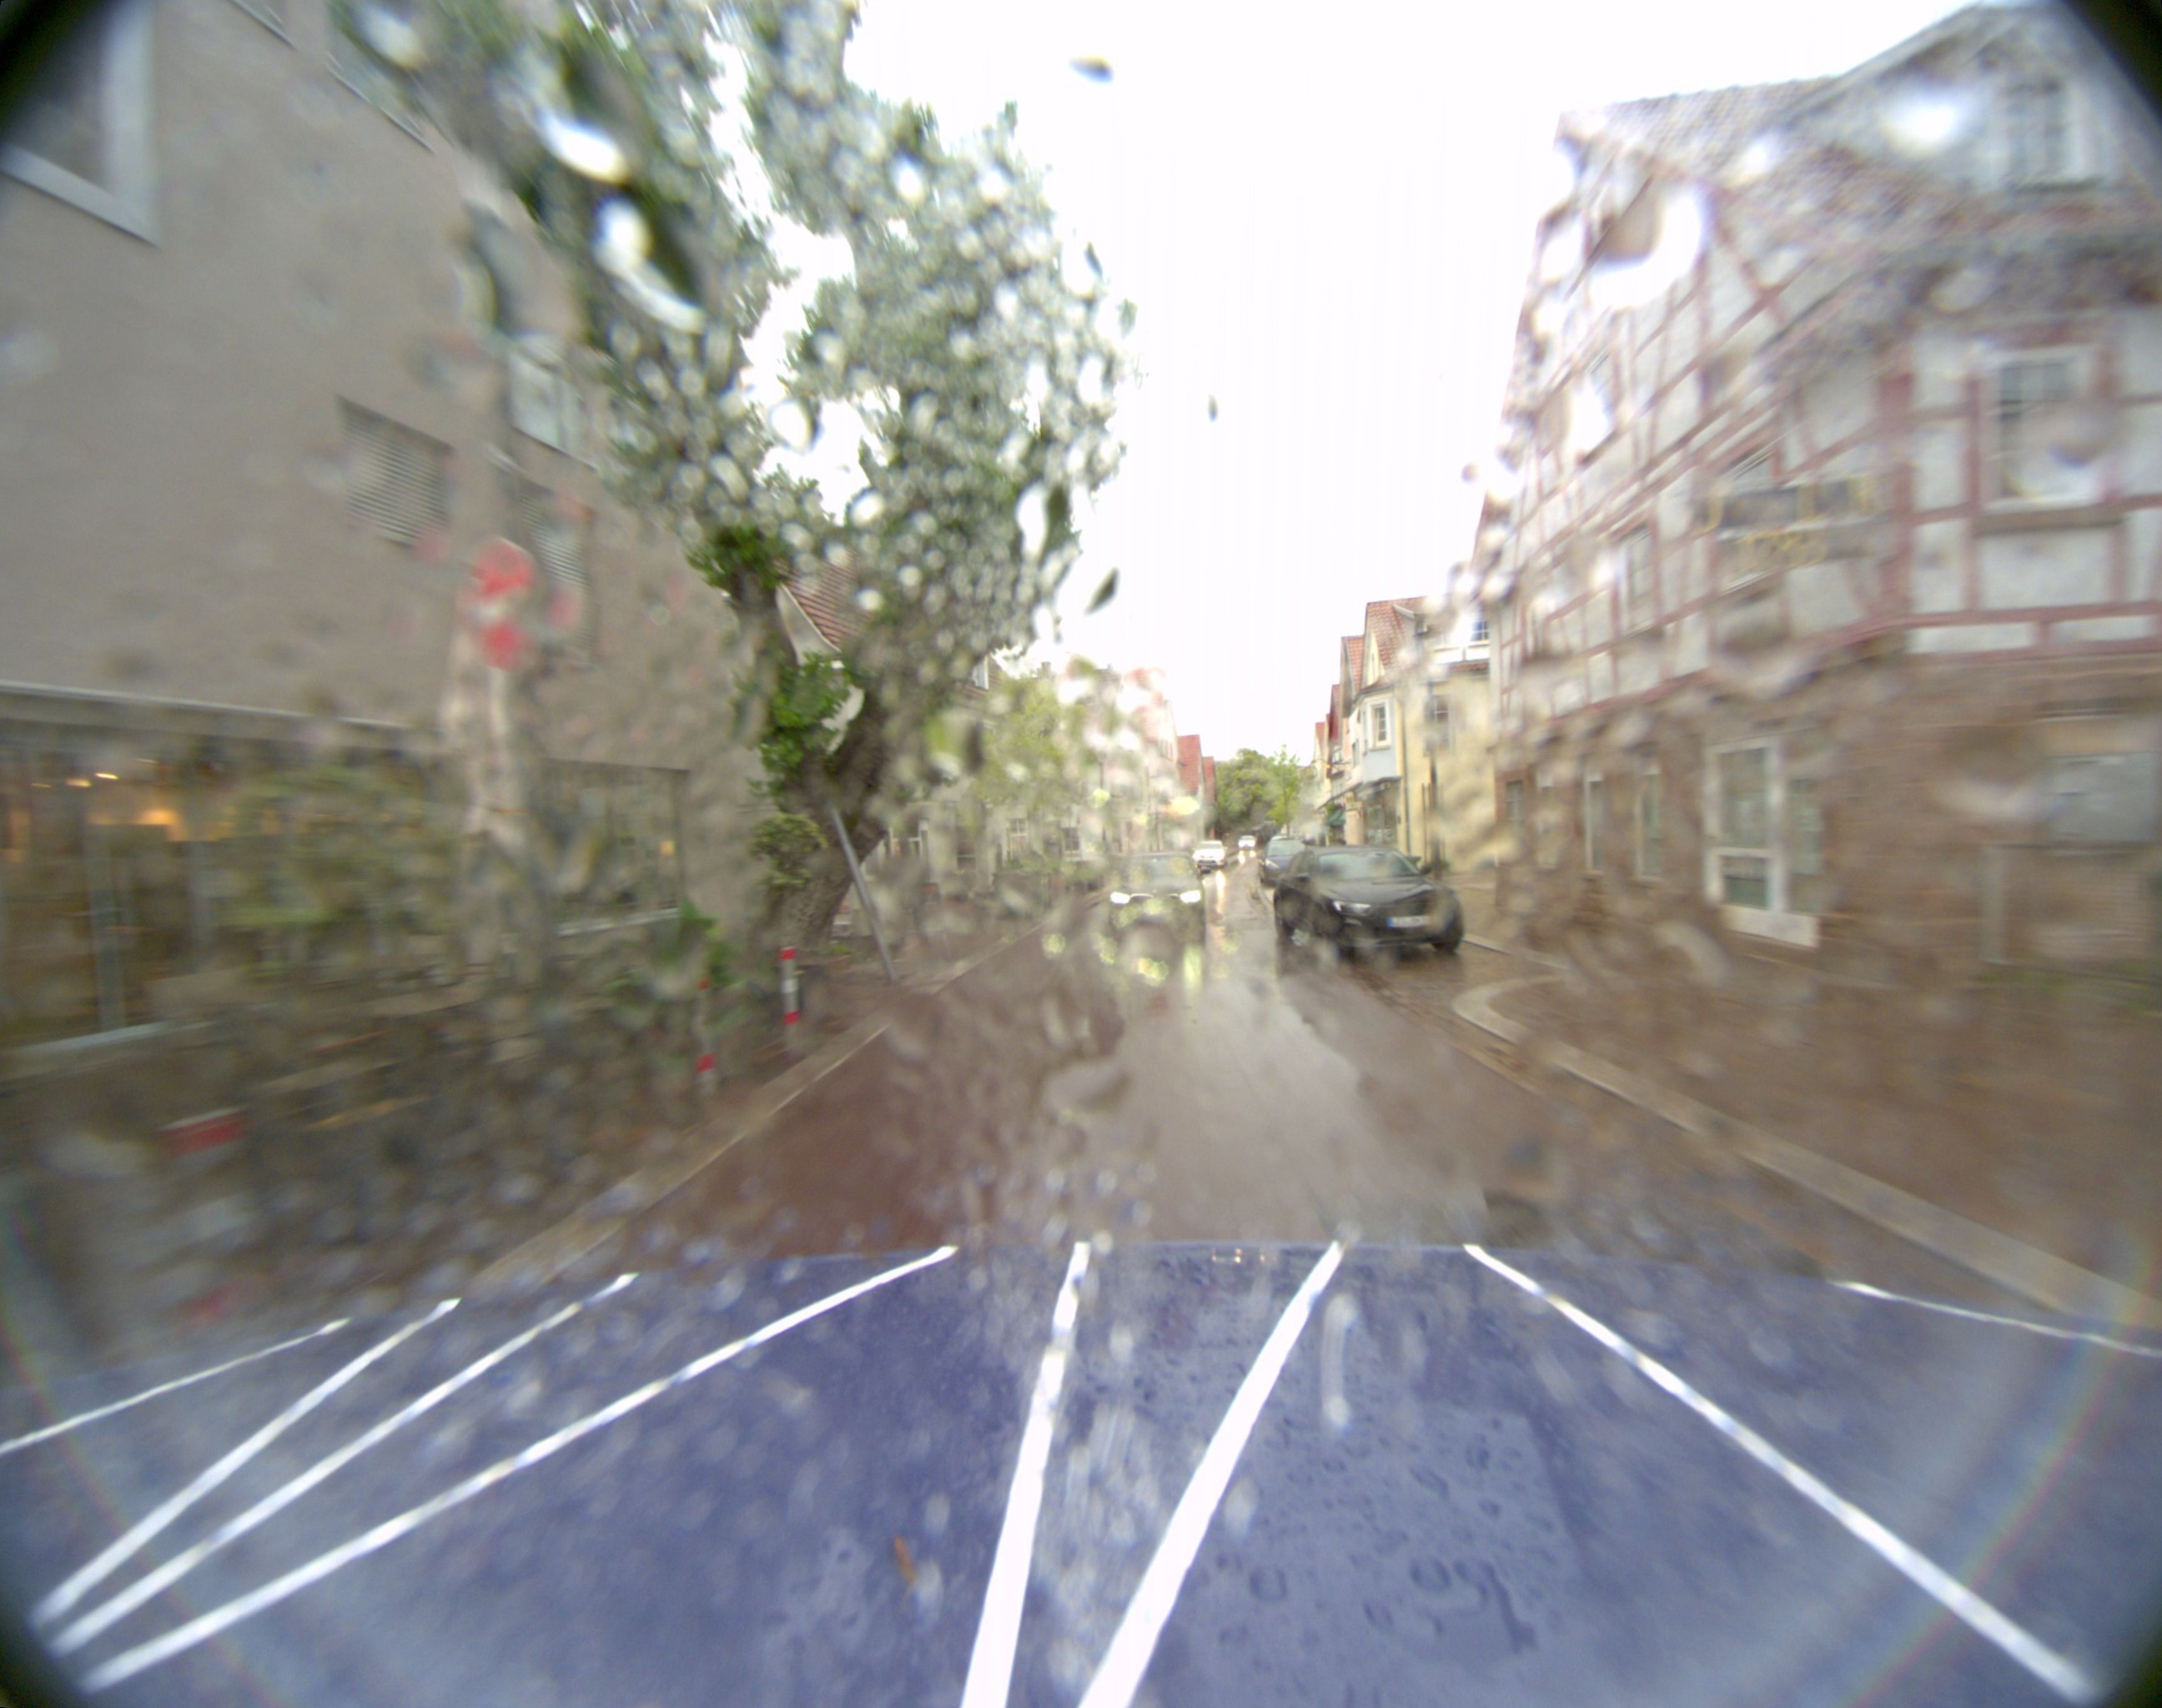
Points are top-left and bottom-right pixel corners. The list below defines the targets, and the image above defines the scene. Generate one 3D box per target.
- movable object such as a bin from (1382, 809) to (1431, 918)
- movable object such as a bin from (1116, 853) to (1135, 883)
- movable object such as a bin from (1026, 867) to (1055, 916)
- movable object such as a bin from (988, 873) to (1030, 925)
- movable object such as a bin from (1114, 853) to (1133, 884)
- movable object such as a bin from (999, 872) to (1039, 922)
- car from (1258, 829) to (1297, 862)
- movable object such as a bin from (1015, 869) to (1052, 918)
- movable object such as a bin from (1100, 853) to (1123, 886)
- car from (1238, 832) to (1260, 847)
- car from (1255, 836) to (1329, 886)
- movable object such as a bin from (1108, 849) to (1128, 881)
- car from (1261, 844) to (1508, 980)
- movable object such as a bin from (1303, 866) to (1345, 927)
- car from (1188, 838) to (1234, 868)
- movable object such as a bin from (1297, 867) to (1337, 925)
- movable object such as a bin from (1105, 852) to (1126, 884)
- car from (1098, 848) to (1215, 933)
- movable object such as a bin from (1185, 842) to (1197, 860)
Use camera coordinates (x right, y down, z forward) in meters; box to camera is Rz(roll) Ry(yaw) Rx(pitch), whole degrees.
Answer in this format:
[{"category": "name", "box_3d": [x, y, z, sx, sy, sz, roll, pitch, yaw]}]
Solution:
[{"category": "movable object such as a bin", "box_3d": [6.205, 0.163, 14.514, 0.631, 2.003, 0.747, -2, 3, 7]}, {"category": "movable object such as a bin", "box_3d": [1.923, 0.595, 32.605, 0.659, 1.232, 0.622, -2, 3, 15]}, {"category": "movable object such as a bin", "box_3d": [-0.992, 0.909, 18.686, 0.544, 1.149, 0.577, -2, 3, 12]}, {"category": "movable object such as a bin", "box_3d": [-1.577, 0.990, 16.763, 0.730, 1.074, 0.577, -2, 3, 12]}, {"category": "movable object such as a bin", "box_3d": [1.781, 0.614, 32.036, 0.659, 1.238, 0.543, -2, 3, 15]}, {"category": "movable object such as a bin", "box_3d": [-1.425, 0.987, 17.521, 0.730, 1.096, 0.562, -2, 3, 12]}, {"category": "car", "box_3d": [10.545, -0.483, 40.562, 1.829, 1.558, 4.003, -2, 3, 16]}, {"category": "movable object such as a bin", "box_3d": [-1.130, 0.940, 18.062, 0.693, 1.096, 0.562, -2, 3, 12]}, {"category": "movable object such as a bin", "box_3d": [1.201, 0.590, 29.730, 0.679, 1.234, 0.732, -2, 3, 15]}, {"category": "car", "box_3d": [18.437, -1.567, 83.143, 1.996, 1.445, 4.003, -2, 2, 17]}, {"category": "car", "box_3d": [7.099, 0.168, 25.975, 1.997, 1.463, 4.002, -3, 1, 10]}, {"category": "movable object such as a bin", "box_3d": [1.518, 0.438, 30.934, 0.679, 1.226, 0.565, -2, 3, 15]}, {"category": "car", "box_3d": [4.085, 0.672, 11.045, 1.998, 1.486, 4.000, -4, 1, 2]}, {"category": "movable object such as a bin", "box_3d": [4.727, 0.817, 14.810, 0.631, 1.116, 0.734, -2, 3, 7]}, {"category": "car", "box_3d": [7.321, -0.084, 42.499, 1.996, 1.445, 4.003, -2, 2, 17]}, {"category": "movable object such as a bin", "box_3d": [4.843, 0.848, 15.606, 0.631, 1.107, 0.734, -2, 3, 7]}, {"category": "movable object such as a bin", "box_3d": [1.370, 0.558, 30.383, 0.679, 1.243, 0.565, -2, 3, 15]}, {"category": "car", "box_3d": [1.756, 0.650, 15.946, 1.997, 1.398, 4.896, -2, 1, 10]}, {"category": "movable object such as a bin", "box_3d": [7.660, -0.224, 52.885, 0.719, 1.195, 0.579, -2, 3, 17]}]
